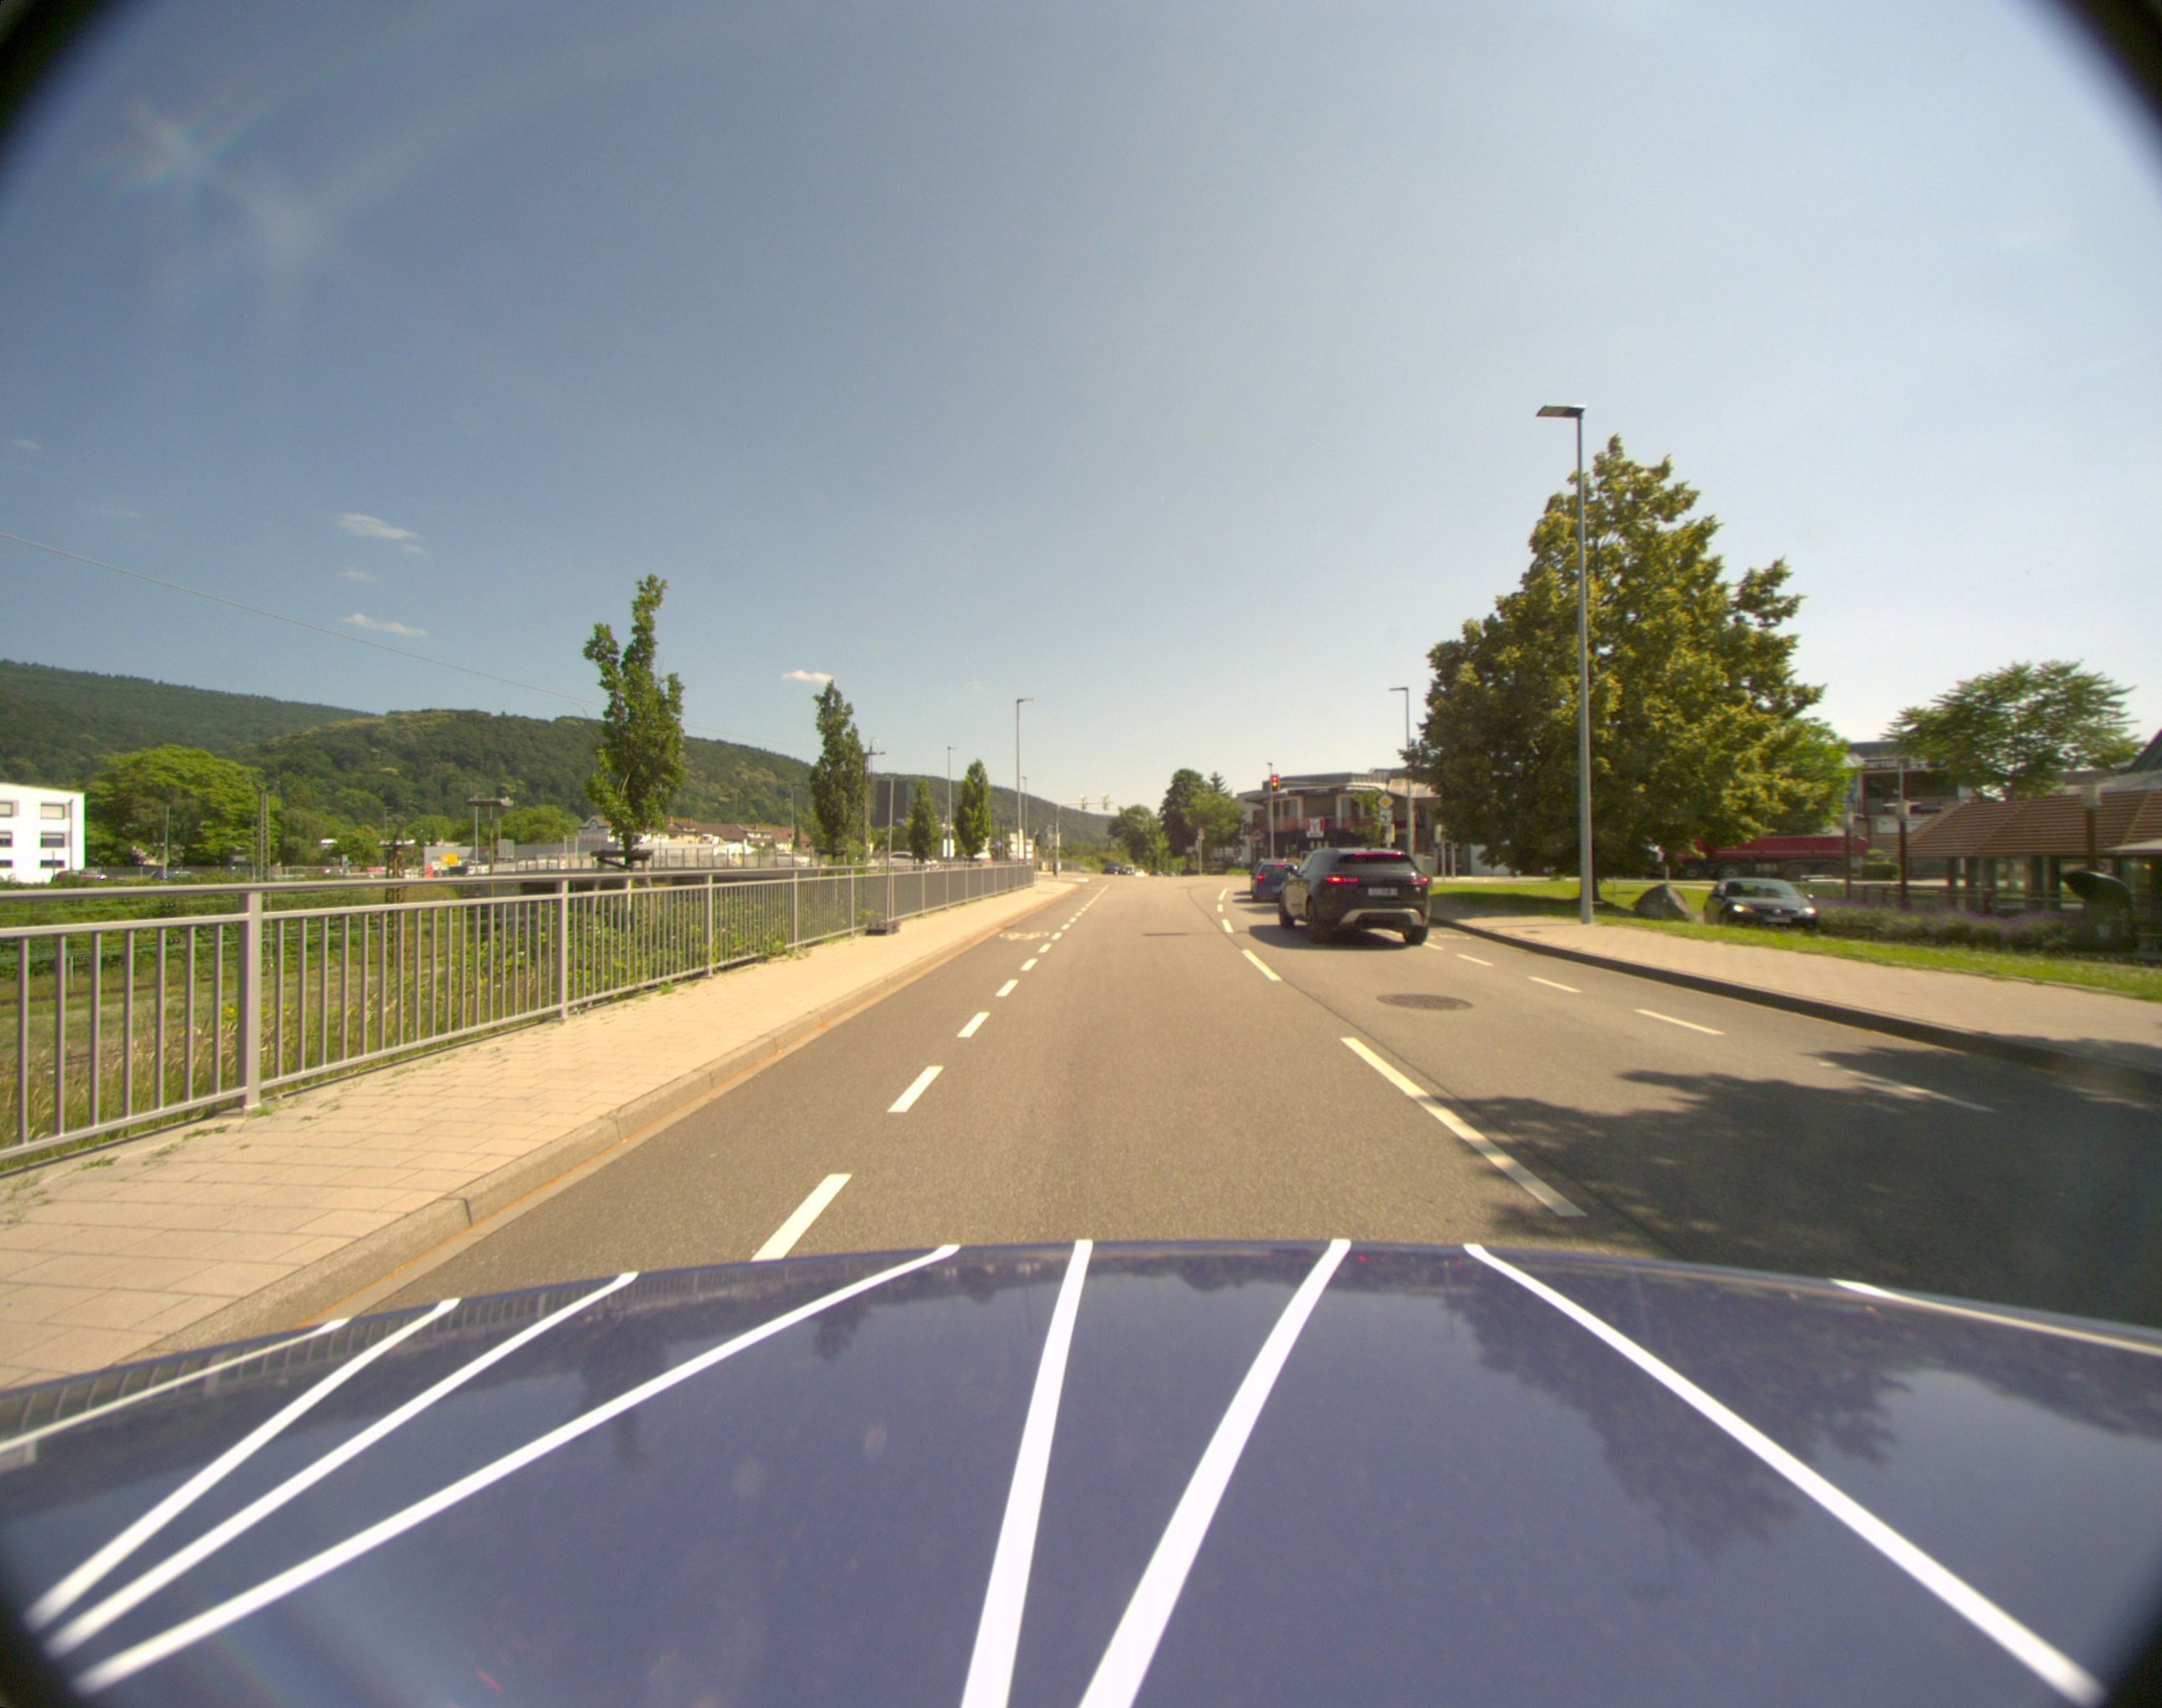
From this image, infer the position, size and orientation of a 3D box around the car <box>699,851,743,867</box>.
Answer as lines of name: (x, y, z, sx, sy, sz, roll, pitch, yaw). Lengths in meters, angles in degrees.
car: (-37.911, 0.514, 79.970, 4.431, 1.617, 1.740, -1, 0, 23)

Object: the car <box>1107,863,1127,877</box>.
car: (4.167, 1.844, 87.628, 1.828, 1.617, 4.240, 0, 0, 9)

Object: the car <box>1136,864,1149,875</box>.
car: (9.358, 2.312, 115.239, 1.671, 1.523, 4.003, 0, 0, 8)

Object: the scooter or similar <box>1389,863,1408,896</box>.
scooter or similar: (11.682, 0.910, 27.971, 0.472, 1.177, 1.367, 0, 0, 15)

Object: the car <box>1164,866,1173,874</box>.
car: (17.210, 3.068, 149.157, 1.671, 1.523, 4.003, 0, 0, 8)

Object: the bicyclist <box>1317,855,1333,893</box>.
bicyclist: (11.426, 0.922, 35.613, 0.711, 1.778, 0.810, 0, 0, 17)

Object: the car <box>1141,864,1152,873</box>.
car: (10.599, 2.392, 122.556, 1.671, 1.427, 4.003, 0, 0, 8)

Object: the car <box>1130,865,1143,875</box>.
car: (7.910, 2.252, 107.943, 1.671, 1.309, 4.003, 0, 0, 8)

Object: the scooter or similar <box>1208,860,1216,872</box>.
scooter or similar: (12.362, 1.163, 71.624, 0.426, 1.117, 1.454, 0, 0, 22)

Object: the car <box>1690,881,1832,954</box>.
car: (17.558, 1.552, 19.856, 1.861, 1.543, 4.196, 0, 0, 29)

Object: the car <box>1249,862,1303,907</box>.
car: (6.671, 0.991, 26.205, 1.658, 1.373, 4.004, 0, 0, 13)

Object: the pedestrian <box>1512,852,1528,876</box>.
pedestrian: (30.639, 0.685, 53.016, 0.843, 1.636, 0.732, 0, 0, -42)

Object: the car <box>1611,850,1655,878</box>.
car: (38.077, 0.656, 52.553, 1.804, 1.844, 4.668, 0, 0, 28)

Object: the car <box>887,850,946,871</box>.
car: (-13.847, 0.528, 63.886, 4.621, 1.709, 2.004, 0, 0, 25)

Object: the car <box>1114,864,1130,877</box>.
car: (5.033, 1.965, 92.777, 1.671, 1.523, 4.003, 0, 0, 8)

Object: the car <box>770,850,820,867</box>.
car: (-28.275, 0.476, 75.123, 4.432, 1.617, 1.739, 0, 0, 19)

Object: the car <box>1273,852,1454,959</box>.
car: (5.028, 0.823, 14.263, 1.954, 1.685, 4.614, 0, 0, 4)

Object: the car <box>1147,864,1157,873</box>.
car: (12.385, 2.485, 132.226, 1.671, 1.427, 4.003, 0, 0, 8)

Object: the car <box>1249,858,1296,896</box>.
car: (8.070, 0.910, 32.141, 1.782, 1.488, 4.728, 0, 0, 13)

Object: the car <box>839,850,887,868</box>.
car: (-20.541, 0.476, 71.595, 4.430, 1.617, 1.740, 0, 0, 28)

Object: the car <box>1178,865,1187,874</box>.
car: (22.092, 3.357, 165.141, 1.671, 1.718, 4.004, -4, -1, 11)

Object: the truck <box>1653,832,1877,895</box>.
truck: (39.194, 0.552, 44.143, 9.144, 3.366, 3.321, -1, -1, 28)

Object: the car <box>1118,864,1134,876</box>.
car: (5.803, 2.011, 97.583, 1.671, 1.523, 4.003, 0, 0, 8)
